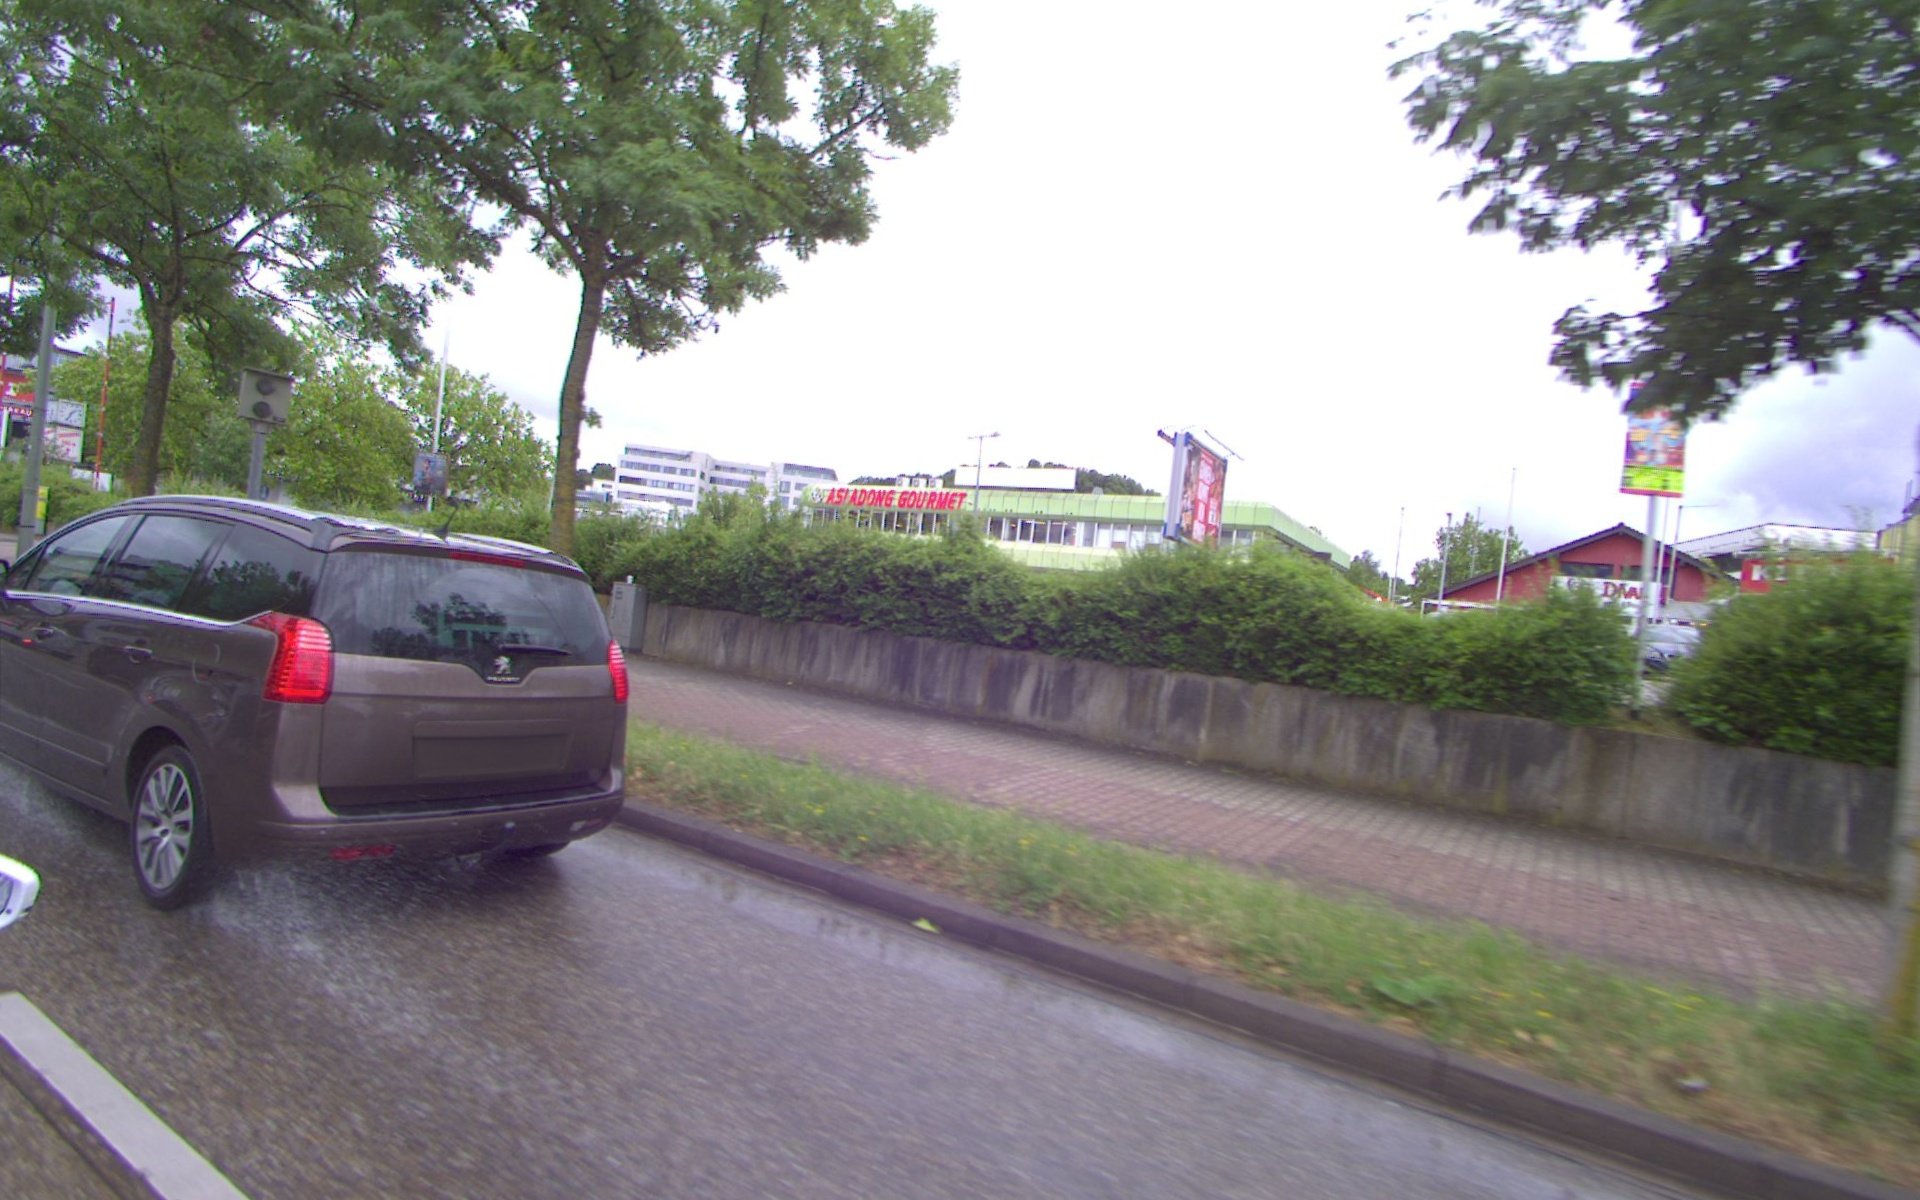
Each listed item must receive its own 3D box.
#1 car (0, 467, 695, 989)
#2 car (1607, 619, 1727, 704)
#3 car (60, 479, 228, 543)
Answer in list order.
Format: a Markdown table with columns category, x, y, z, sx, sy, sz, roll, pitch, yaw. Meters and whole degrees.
| category | x | y | z | sx | sy | sz | roll | pitch | yaw |
| --- | --- | --- | --- | --- | --- | --- | --- | --- | --- |
| car | -3.640 | 0.312 | 5.193 | 4.397 | 1.644 | 1.728 | 7 | 0 | 32 |
| car | 18.106 | 1.601 | 25.965 | 1.966 | 1.801 | 3.993 | 7 | 0 | 30 |
| car | -27.062 | -2.923 | 33.485 | 1.628 | 1.460 | 3.990 | 7 | 0 | 33 |
